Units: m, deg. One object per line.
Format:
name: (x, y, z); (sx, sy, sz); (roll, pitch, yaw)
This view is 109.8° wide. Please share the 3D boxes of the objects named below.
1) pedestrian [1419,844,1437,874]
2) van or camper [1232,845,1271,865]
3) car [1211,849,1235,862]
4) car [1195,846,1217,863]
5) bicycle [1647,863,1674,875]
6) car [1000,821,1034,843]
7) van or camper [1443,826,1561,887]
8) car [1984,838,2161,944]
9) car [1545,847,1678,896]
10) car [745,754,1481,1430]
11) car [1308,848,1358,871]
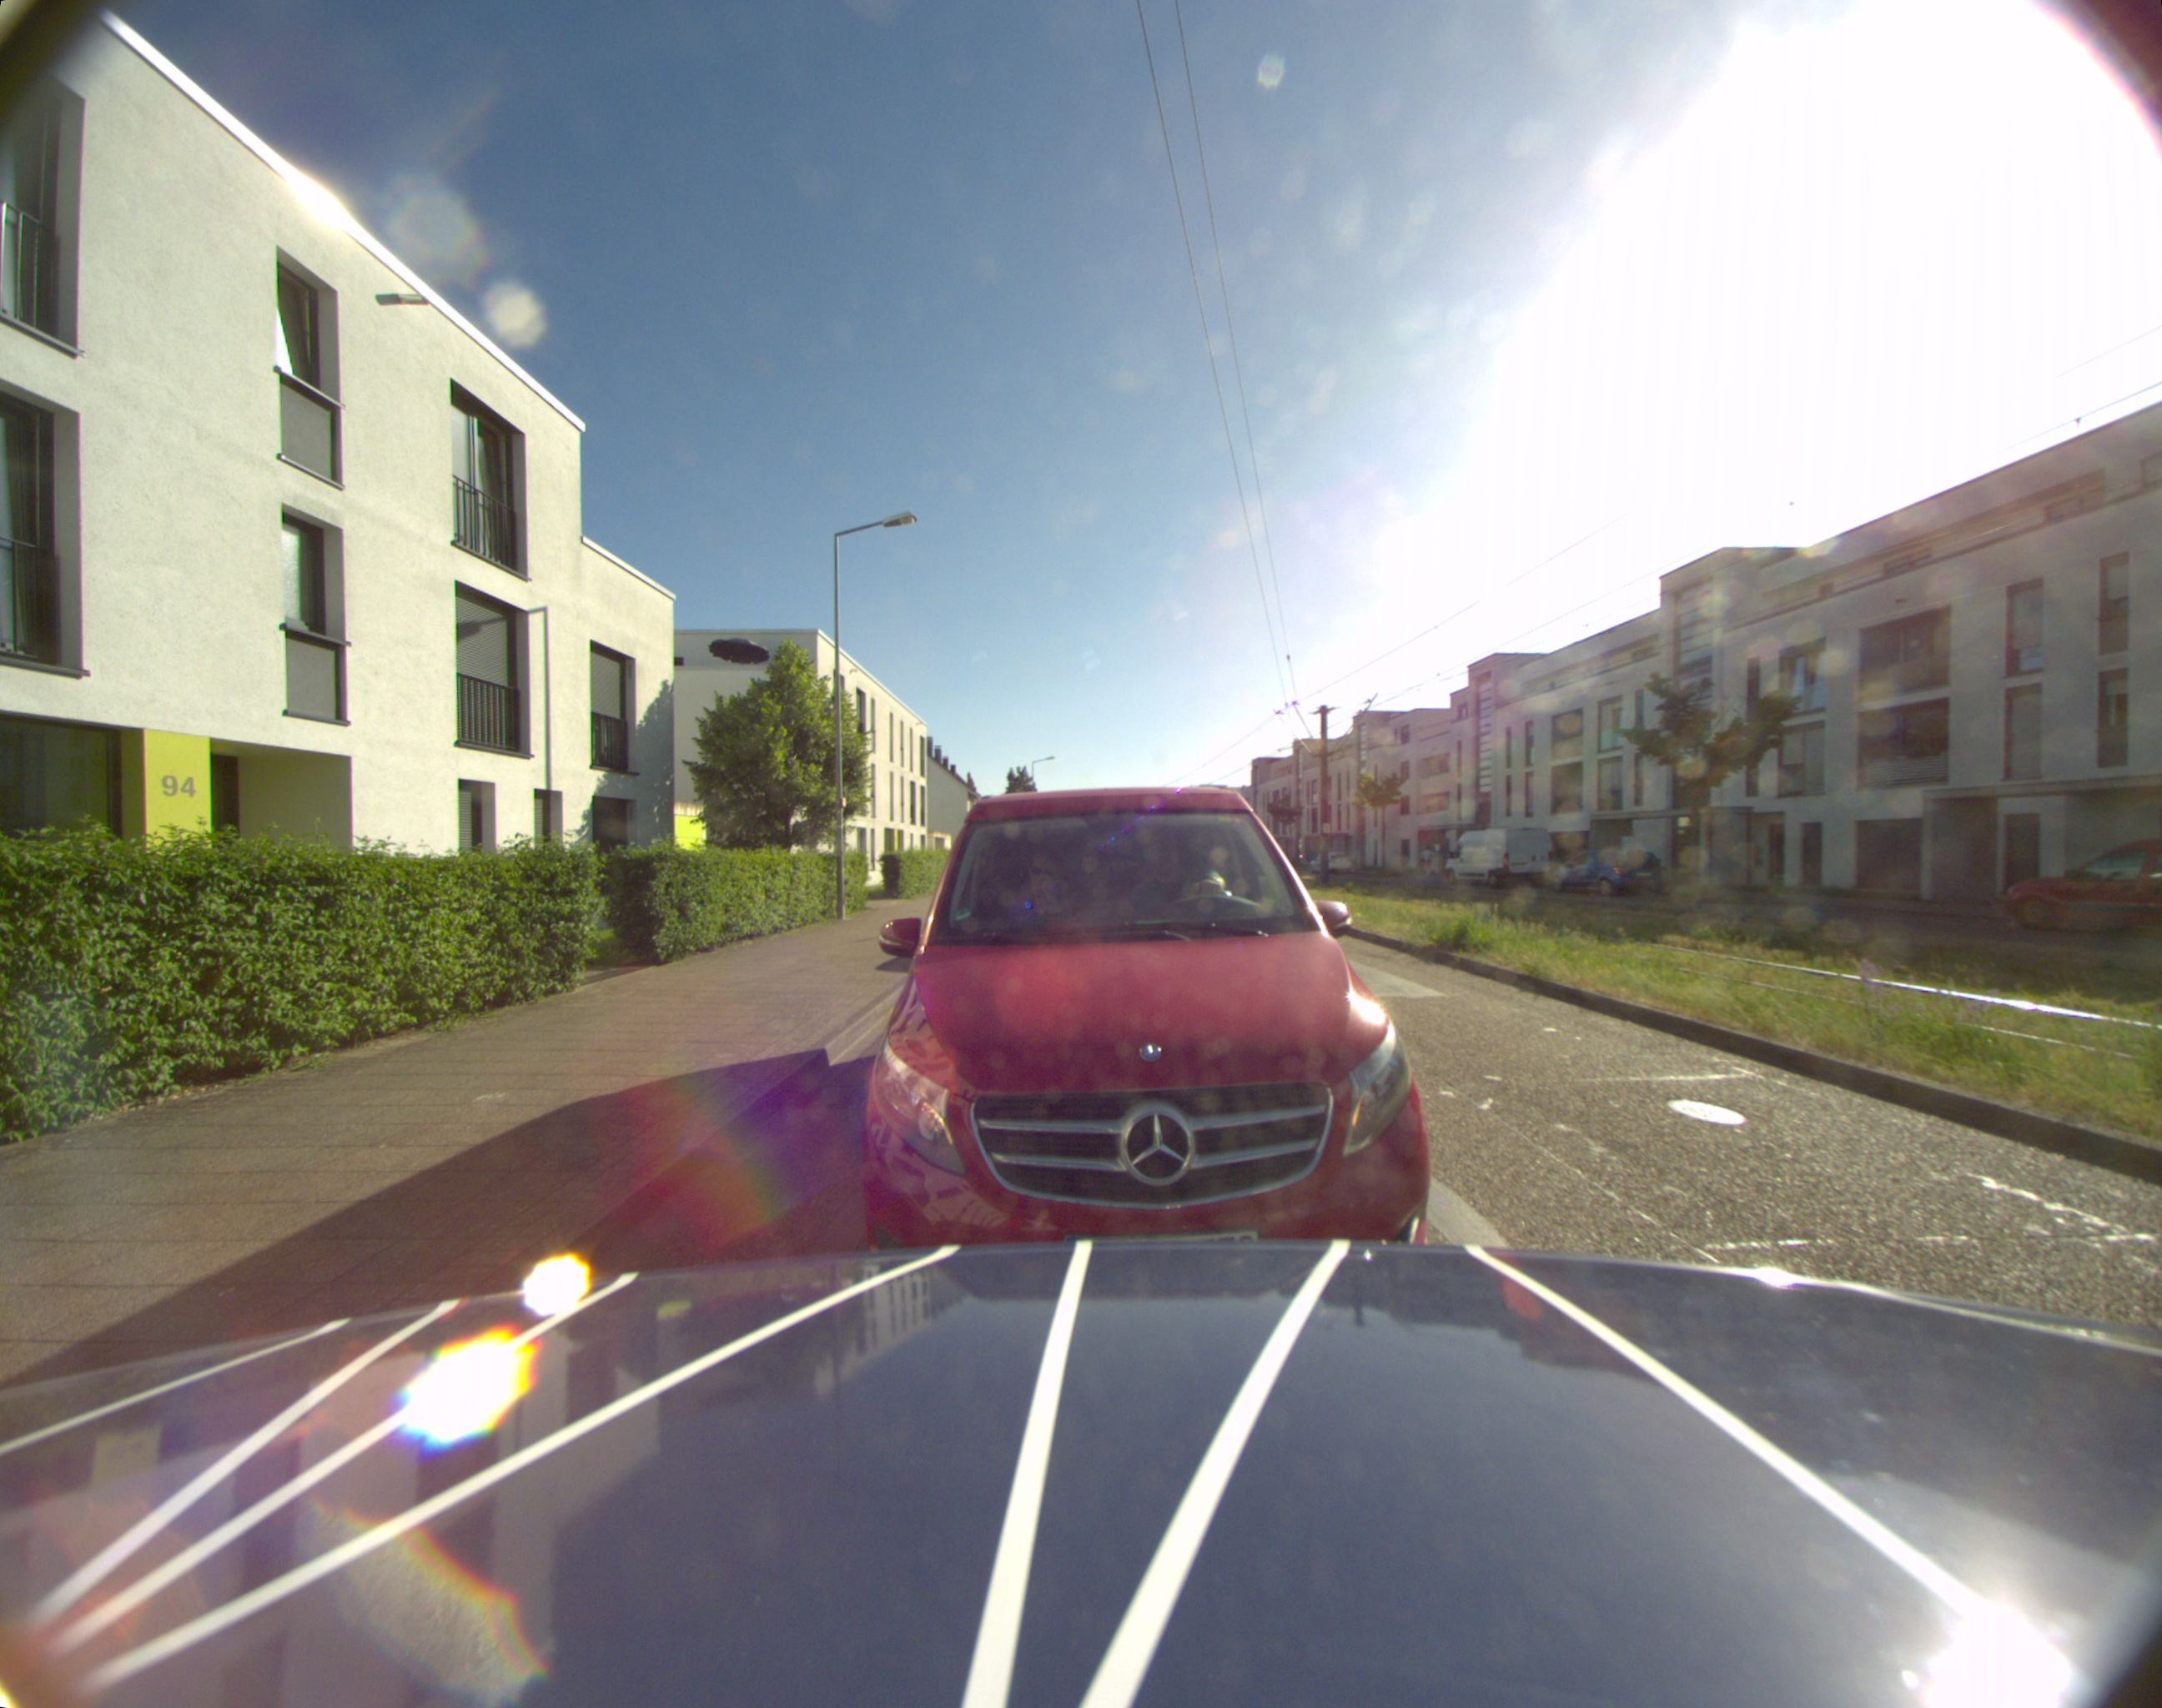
pedestrian: (19.729, 0.284, 43.199); (0.619, 1.634, 0.612); (-2, 1, -7)
van or camper: (16.766, 0.050, 75.201); (2.273, 1.838, 6.284); (-1, 1, -1)
car: (16.100, 0.196, 86.337); (1.867, 1.430, 3.496); (-2, 0, -4)
car: (15.386, 0.077, 93.851); (1.788, 2.002, 3.998); (-2, 1, -4)
bicycle: (24.926, 0.642, 32.692); (0.354, 0.495, 1.061); (0, 0, -1)
car: (-7.363, -2.505, 88.478); (3.182, 2.333, 6.174); (-2, 1, 1)
van or camper: (18.157, 0.081, 33.135); (2.197, 2.450, 5.259); (0, 1, 0)
car: (18.471, 0.609, 12.823); (1.793, 1.713, 3.908); (1, 1, 1)
car: (18.255, 0.545, 26.387); (1.934, 1.604, 3.835); (0, 1, 0)
car: (0.132, 0.709, 4.810); (2.127, 1.958, 5.083); (-2, 0, 1)
car: (17.752, 0.372, 53.714); (2.047, 1.577, 4.120); (0, 1, -3)
